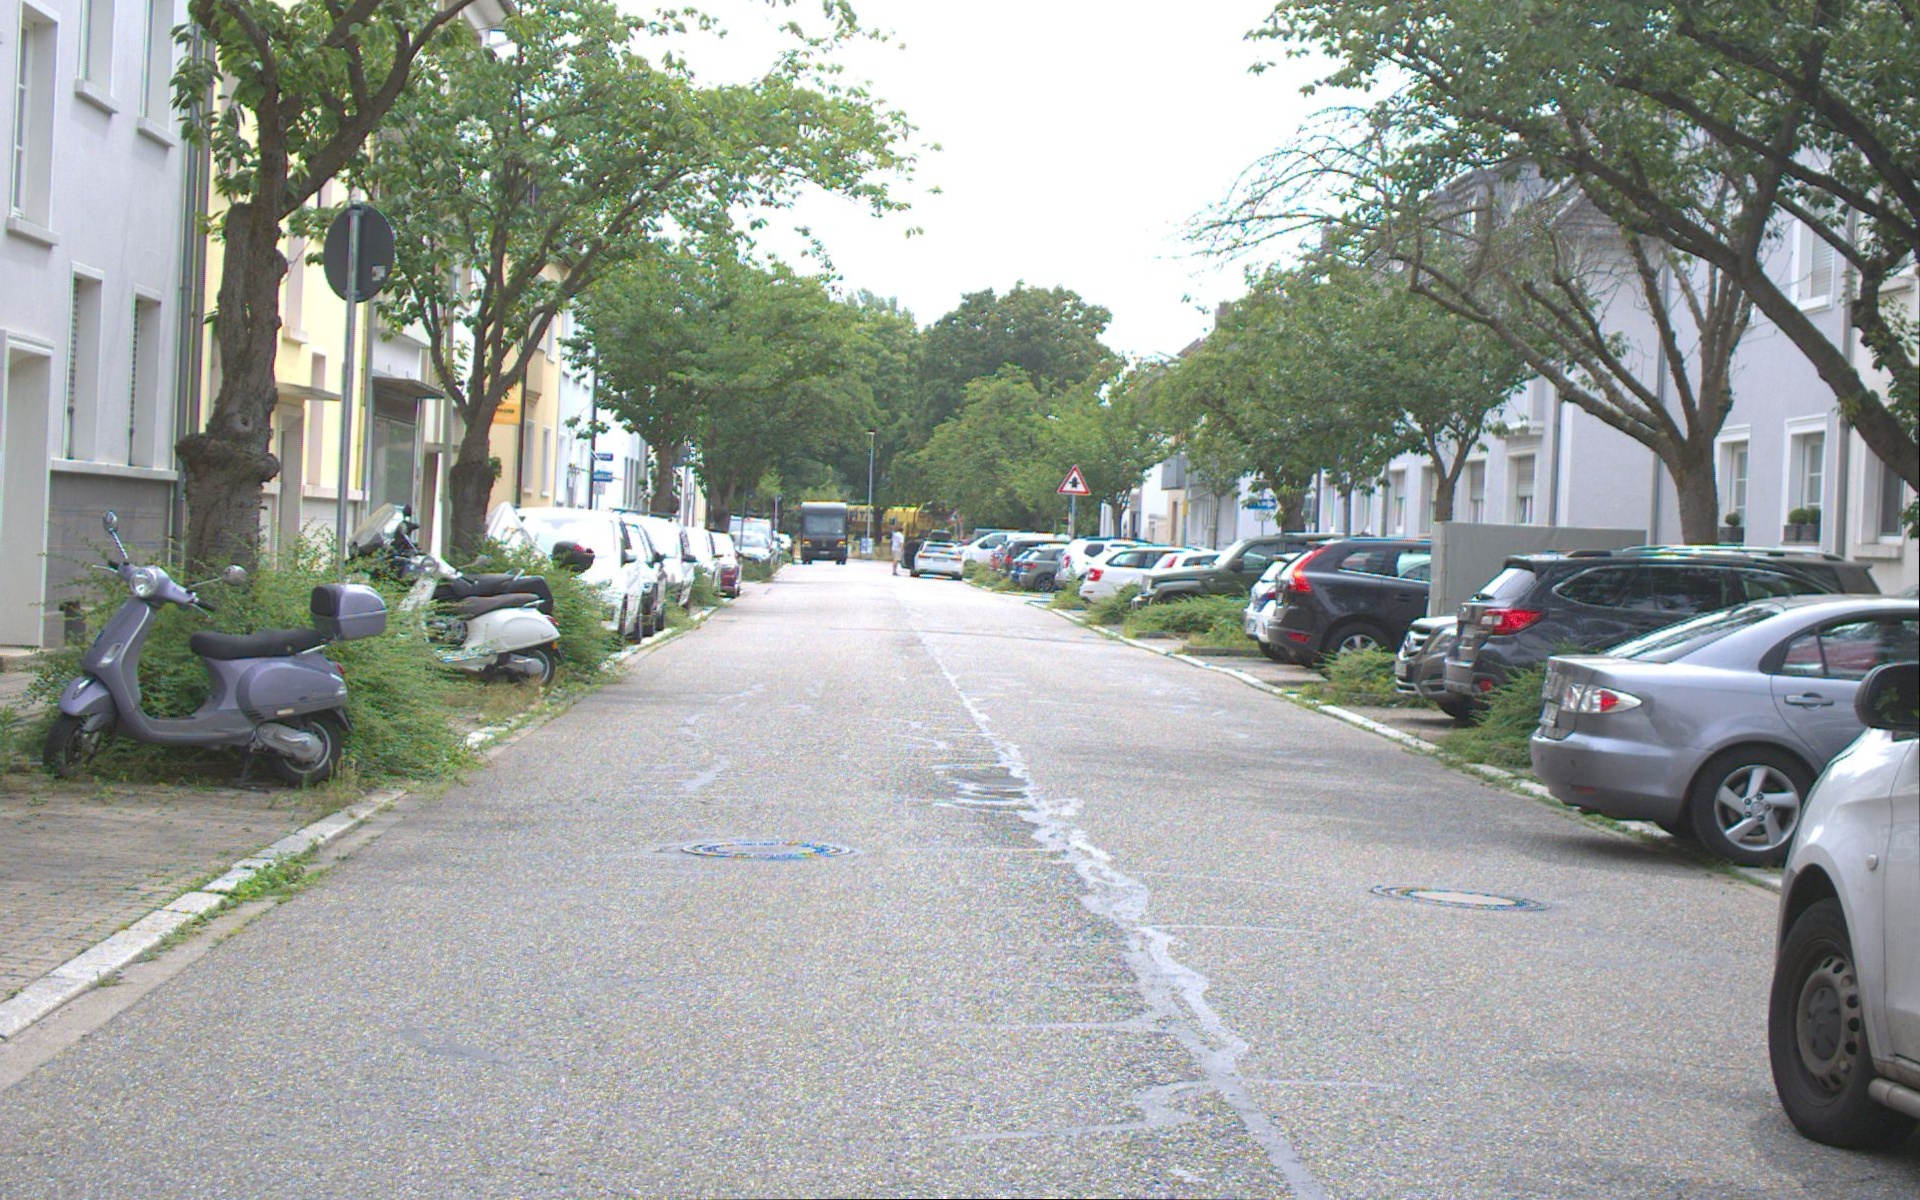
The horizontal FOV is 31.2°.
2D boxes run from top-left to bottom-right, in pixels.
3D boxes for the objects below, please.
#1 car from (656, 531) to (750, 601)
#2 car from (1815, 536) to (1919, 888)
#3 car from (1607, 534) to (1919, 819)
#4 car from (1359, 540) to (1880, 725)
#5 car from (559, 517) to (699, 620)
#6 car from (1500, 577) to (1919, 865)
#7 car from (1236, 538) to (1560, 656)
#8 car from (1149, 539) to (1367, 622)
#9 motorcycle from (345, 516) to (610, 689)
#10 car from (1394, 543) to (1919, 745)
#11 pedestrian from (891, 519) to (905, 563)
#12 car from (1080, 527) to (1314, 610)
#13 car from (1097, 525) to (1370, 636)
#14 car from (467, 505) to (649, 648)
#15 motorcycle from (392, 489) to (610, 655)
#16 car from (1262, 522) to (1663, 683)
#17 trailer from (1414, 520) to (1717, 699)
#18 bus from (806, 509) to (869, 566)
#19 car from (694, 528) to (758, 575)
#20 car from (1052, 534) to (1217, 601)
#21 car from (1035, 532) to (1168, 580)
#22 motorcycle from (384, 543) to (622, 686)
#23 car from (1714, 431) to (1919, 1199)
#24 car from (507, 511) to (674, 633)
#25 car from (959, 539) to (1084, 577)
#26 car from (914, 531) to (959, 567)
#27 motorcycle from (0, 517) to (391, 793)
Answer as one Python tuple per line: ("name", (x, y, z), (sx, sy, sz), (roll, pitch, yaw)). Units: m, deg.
("car", (-5.648, -0.755, 75.904), (1.877, 1.481, 4.513), (0, 1, -2))
("car", (6.136, 0.484, 15.764), (3.986, 1.531, 1.638), (0, 1, -2))
("car", (6.270, 0.443, 21.145), (4.214, 1.672, 1.904), (0, 1, 1))
("car", (5.834, 0.275, 30.734), (4.214, 1.592, 1.904), (0, 1, -4))
("car", (-5.251, -0.518, 55.054), (1.918, 1.576, 4.382), (0, 1, -1))
("car", (5.057, 0.617, 18.450), (3.986, 1.450, 1.767), (0, 1, -2))
("car", (5.793, -0.043, 45.709), (3.986, 1.525, 1.768), (0, 1, -4))
("car", (5.315, -0.361, 61.649), (3.624, 1.449, 1.773), (0, 1, -5))
("motorcycle", (-4.233, 0.013, 30.206), (2.231, 1.476, 0.597), (0, 1, -28))
("car", (5.837, 0.344, 28.250), (4.214, 1.592, 1.904), (0, 1, -4))
("pedestrian", (-2.367, -2.245, 130.823), (0.522, 1.698, 0.444), (0, 1, 2))
("car", (4.794, -0.647, 70.038), (4.614, 1.658, 1.892), (0, 1, -1))
("car", (4.629, -0.345, 58.670), (4.525, 1.852, 1.793), (0, 1, 1))
("car", (-4.694, -0.293, 40.623), (1.757, 1.551, 4.256), (2, 1, -2))
("motorcycle", (-4.897, -0.309, 36.557), (0.936, 1.670, 2.473), (1, 1, -45))
("car", (5.570, 0.013, 38.495), (4.214, 1.730, 1.904), (0, 1, 1))
("trailer", (6.334, 0.086, 36.155), (2.961, 1.825, 1.400), (0, 1, 2))
("bus", (-6.153, -3.075, 171.499), (3.003, 2.752, 8.925), (0, 1, -3))
("car", (-7.769, -1.609, 114.262), (1.763, 1.549, 3.730), (0, 1, 2))
("car", (4.246, -0.800, 84.236), (3.923, 1.627, 1.868), (0, 1, -1))
("car", (4.089, -1.284, 99.729), (3.747, 1.361, 1.773), (0, 1, -1))
("motorcycle", (-3.870, 0.114, 29.165), (1.905, 1.187, 0.597), (0, 1, -28))
("car", (3.317, 0.625, 7.325), (1.993, 1.908, 4.705), (4, 1, -4))
("car", (-4.957, -0.374, 46.672), (1.790, 1.487, 4.812), (3, 0, -1))
("car", (2.478, -1.716, 139.909), (4.974, 1.513, 1.769), (0, 1, -3))
("car", (-0.897, -1.935, 131.434), (1.687, 1.349, 3.826), (0, 1, -1))
("motorcycle", (-4.030, 0.277, 18.061), (2.011, 1.402, 0.793), (0, 1, -13))
